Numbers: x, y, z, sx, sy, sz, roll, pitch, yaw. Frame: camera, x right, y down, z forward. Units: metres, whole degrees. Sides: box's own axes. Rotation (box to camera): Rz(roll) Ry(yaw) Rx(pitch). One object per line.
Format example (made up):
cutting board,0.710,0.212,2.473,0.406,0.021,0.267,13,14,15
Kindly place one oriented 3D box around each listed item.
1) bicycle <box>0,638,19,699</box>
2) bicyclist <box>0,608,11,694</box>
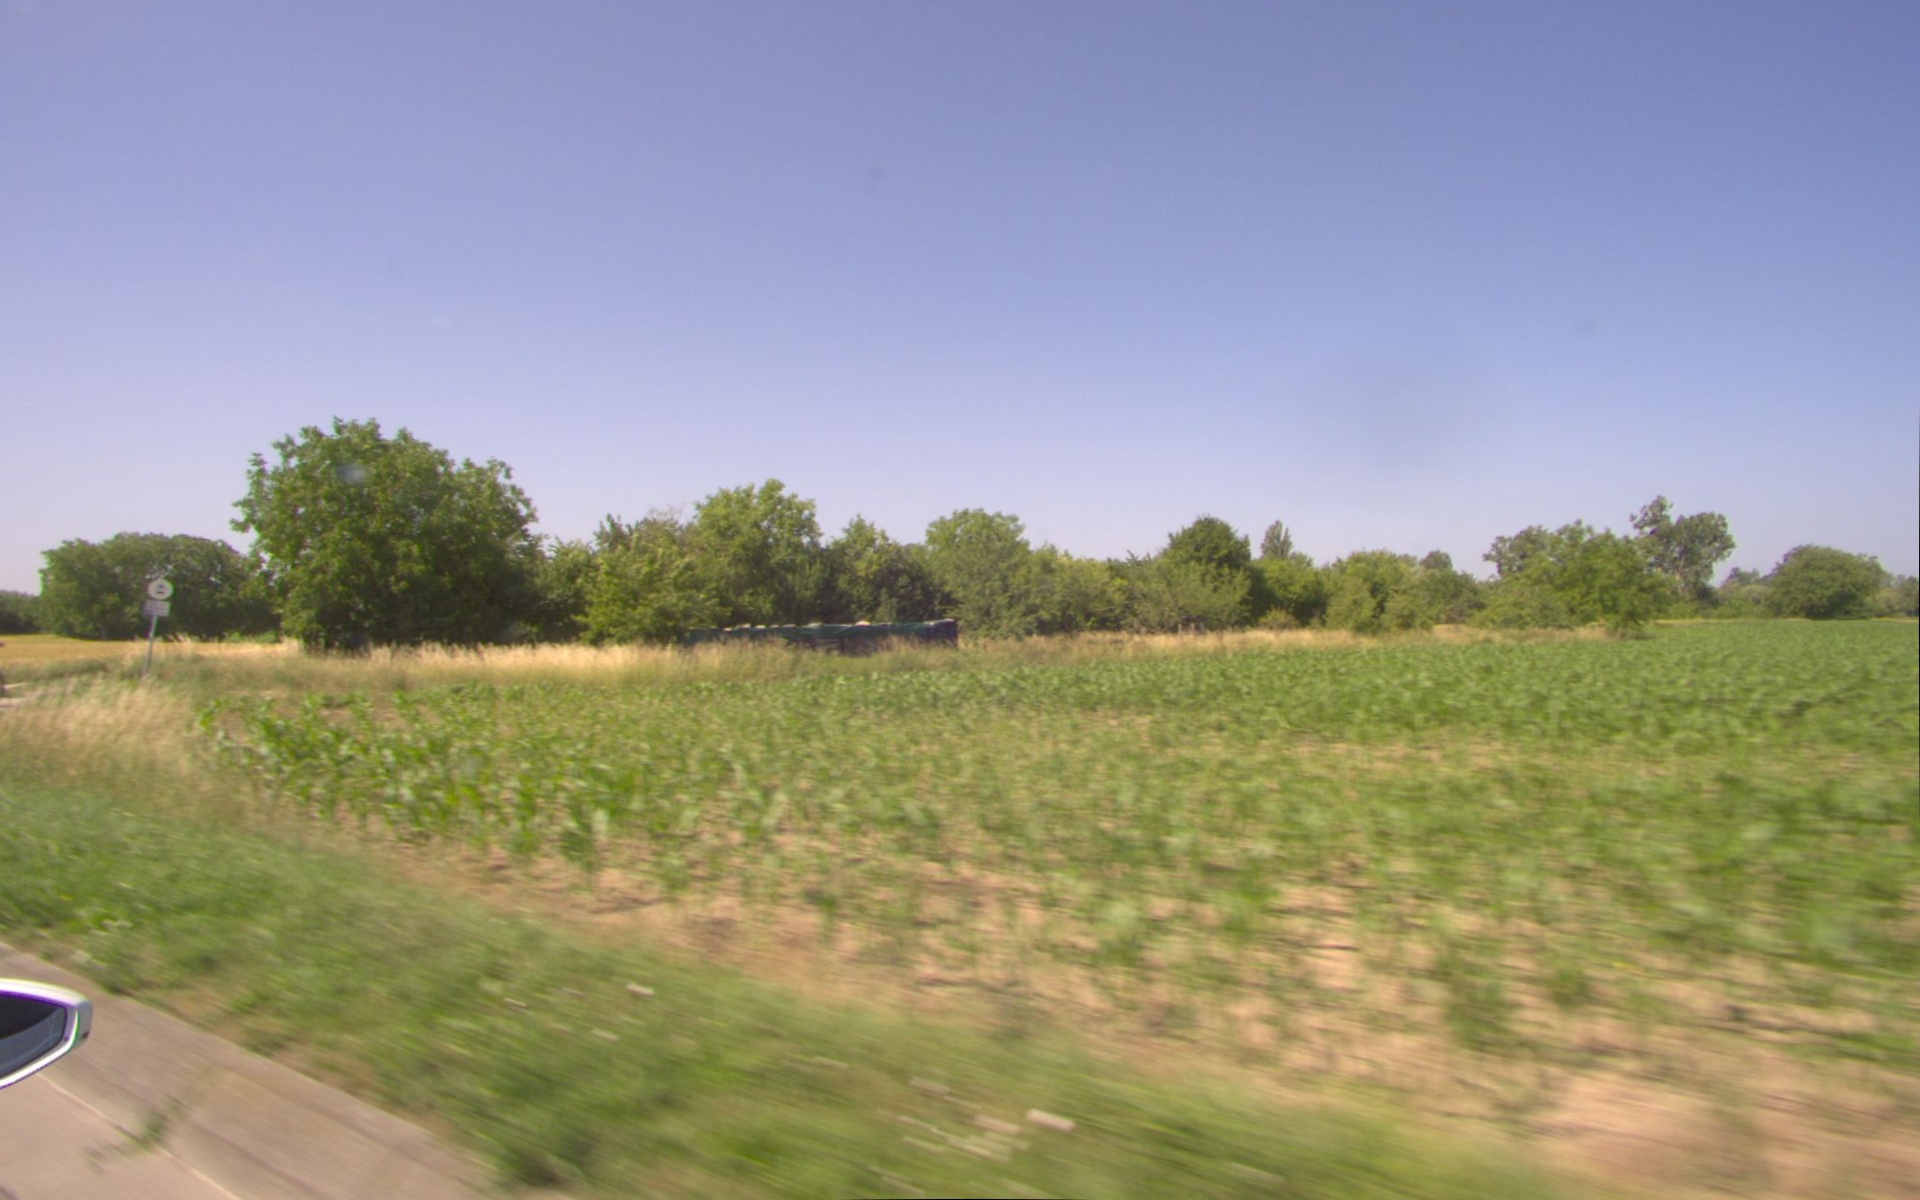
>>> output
bicycle,-18.133,1.279,18.496,0.513,1.130,1.763,0,-1,-24
bicyclist,-18.136,0.954,18.497,0.664,1.594,0.733,0,0,-24
